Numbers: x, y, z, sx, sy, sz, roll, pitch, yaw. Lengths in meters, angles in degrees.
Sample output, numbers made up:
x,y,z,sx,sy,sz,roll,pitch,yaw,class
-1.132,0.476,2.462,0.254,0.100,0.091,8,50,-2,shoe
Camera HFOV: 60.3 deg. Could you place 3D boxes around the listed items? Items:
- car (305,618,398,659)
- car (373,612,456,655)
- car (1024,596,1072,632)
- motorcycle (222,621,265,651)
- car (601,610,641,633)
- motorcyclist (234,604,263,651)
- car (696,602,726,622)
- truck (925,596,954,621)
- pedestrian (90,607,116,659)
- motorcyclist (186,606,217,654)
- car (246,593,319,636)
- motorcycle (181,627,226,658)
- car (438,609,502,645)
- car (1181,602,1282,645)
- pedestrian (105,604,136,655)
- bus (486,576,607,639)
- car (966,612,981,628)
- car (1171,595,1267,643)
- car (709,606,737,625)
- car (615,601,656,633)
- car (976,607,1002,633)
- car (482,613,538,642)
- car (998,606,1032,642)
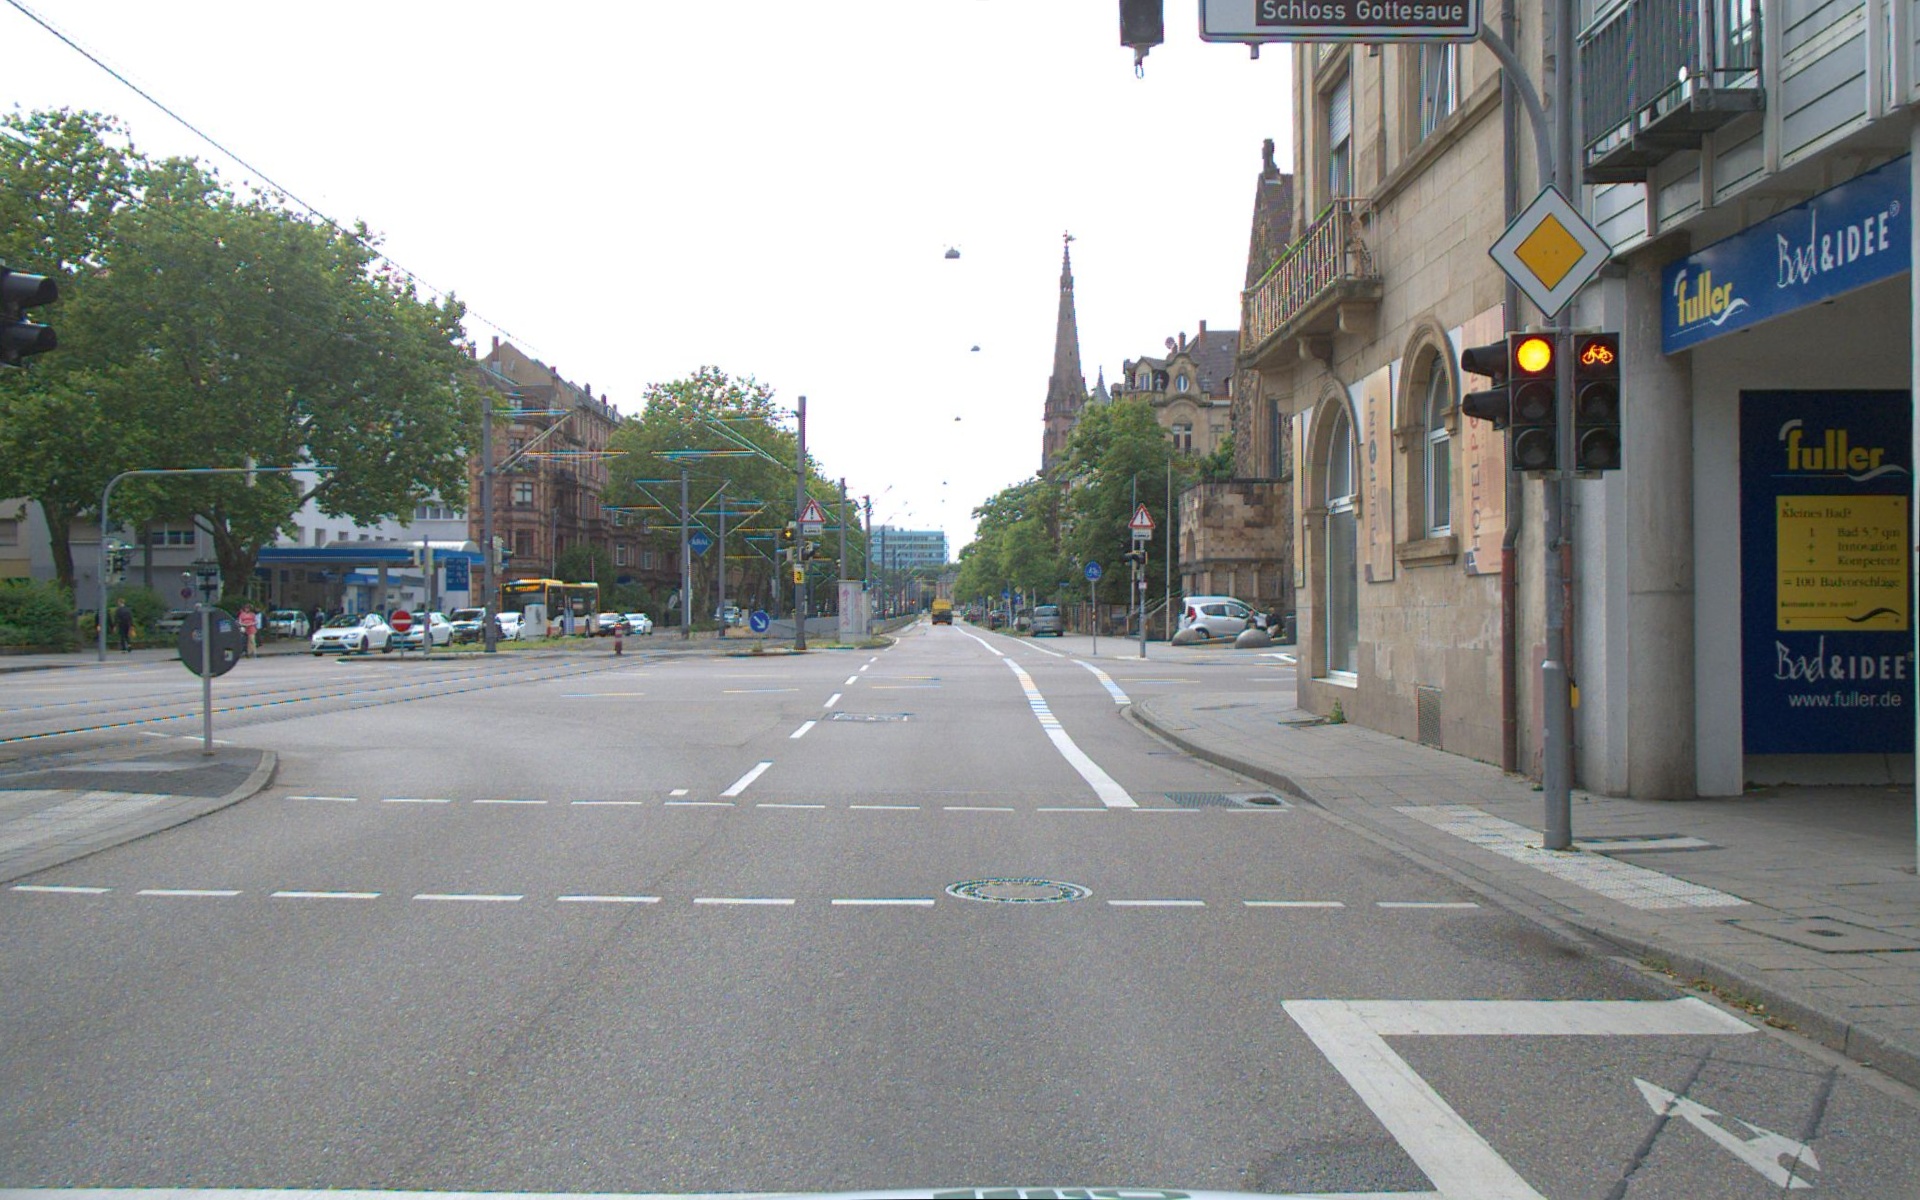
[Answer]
x,y,z,sx,sy,sz,roll,pitch,yaw,class
-21.510,1.334,58.600,1.711,1.344,4.075,1,0,1,car
-21.426,1.292,65.123,1.953,1.622,3.999,1,0,-1,car
4.813,0.772,90.042,1.951,1.888,4.030,1,0,12,car
-23.677,1.193,54.684,0.594,0.945,1.951,0,0,0,motorcycle
-20.857,1.310,101.901,1.622,1.344,3.638,1,0,1,car
-23.662,0.913,55.002,0.607,1.546,0.873,0,0,-1,motorcyclist
-21.224,1.029,141.177,1.953,1.639,3.999,1,0,-1,car
-2.297,0.927,191.463,2.992,2.817,9.817,0,0,1,truck
-28.993,1.094,55.960,0.678,1.743,0.865,0,0,-20,pedestrian
-24.726,0.972,53.899,0.607,1.546,0.873,0,0,-1,motorcyclist
-32.886,0.689,80.399,1.953,2.049,3.999,0,0,-1,car
-24.709,1.374,54.034,0.594,0.945,1.951,0,0,0,motorcycle
-21.225,1.143,71.776,1.622,1.504,3.638,1,0,1,car
10.672,0.927,65.105,3.638,1.591,2.000,1,0,-1,car
-28.568,0.994,56.304,0.861,1.743,0.868,0,0,-23,pedestrian
-21.969,0.422,88.749,3.164,3.088,12.312,1,0,1,bus
1.766,2.664,216.818,1.953,2.049,3.999,1,0,-1,car
10.689,0.796,68.551,3.638,1.888,2.000,1,0,-1,car
-21.340,1.386,148.986,1.953,1.639,3.999,1,0,-1,car
-21.413,1.138,109.254,1.953,2.049,3.999,1,0,-1,car
2.375,1.629,135.996,1.953,2.049,3.999,1,0,-1,car
-21.382,1.289,78.695,1.622,1.344,3.638,1,0,1,car
3.286,1.422,99.632,1.952,2.049,4.000,1,0,1,car
